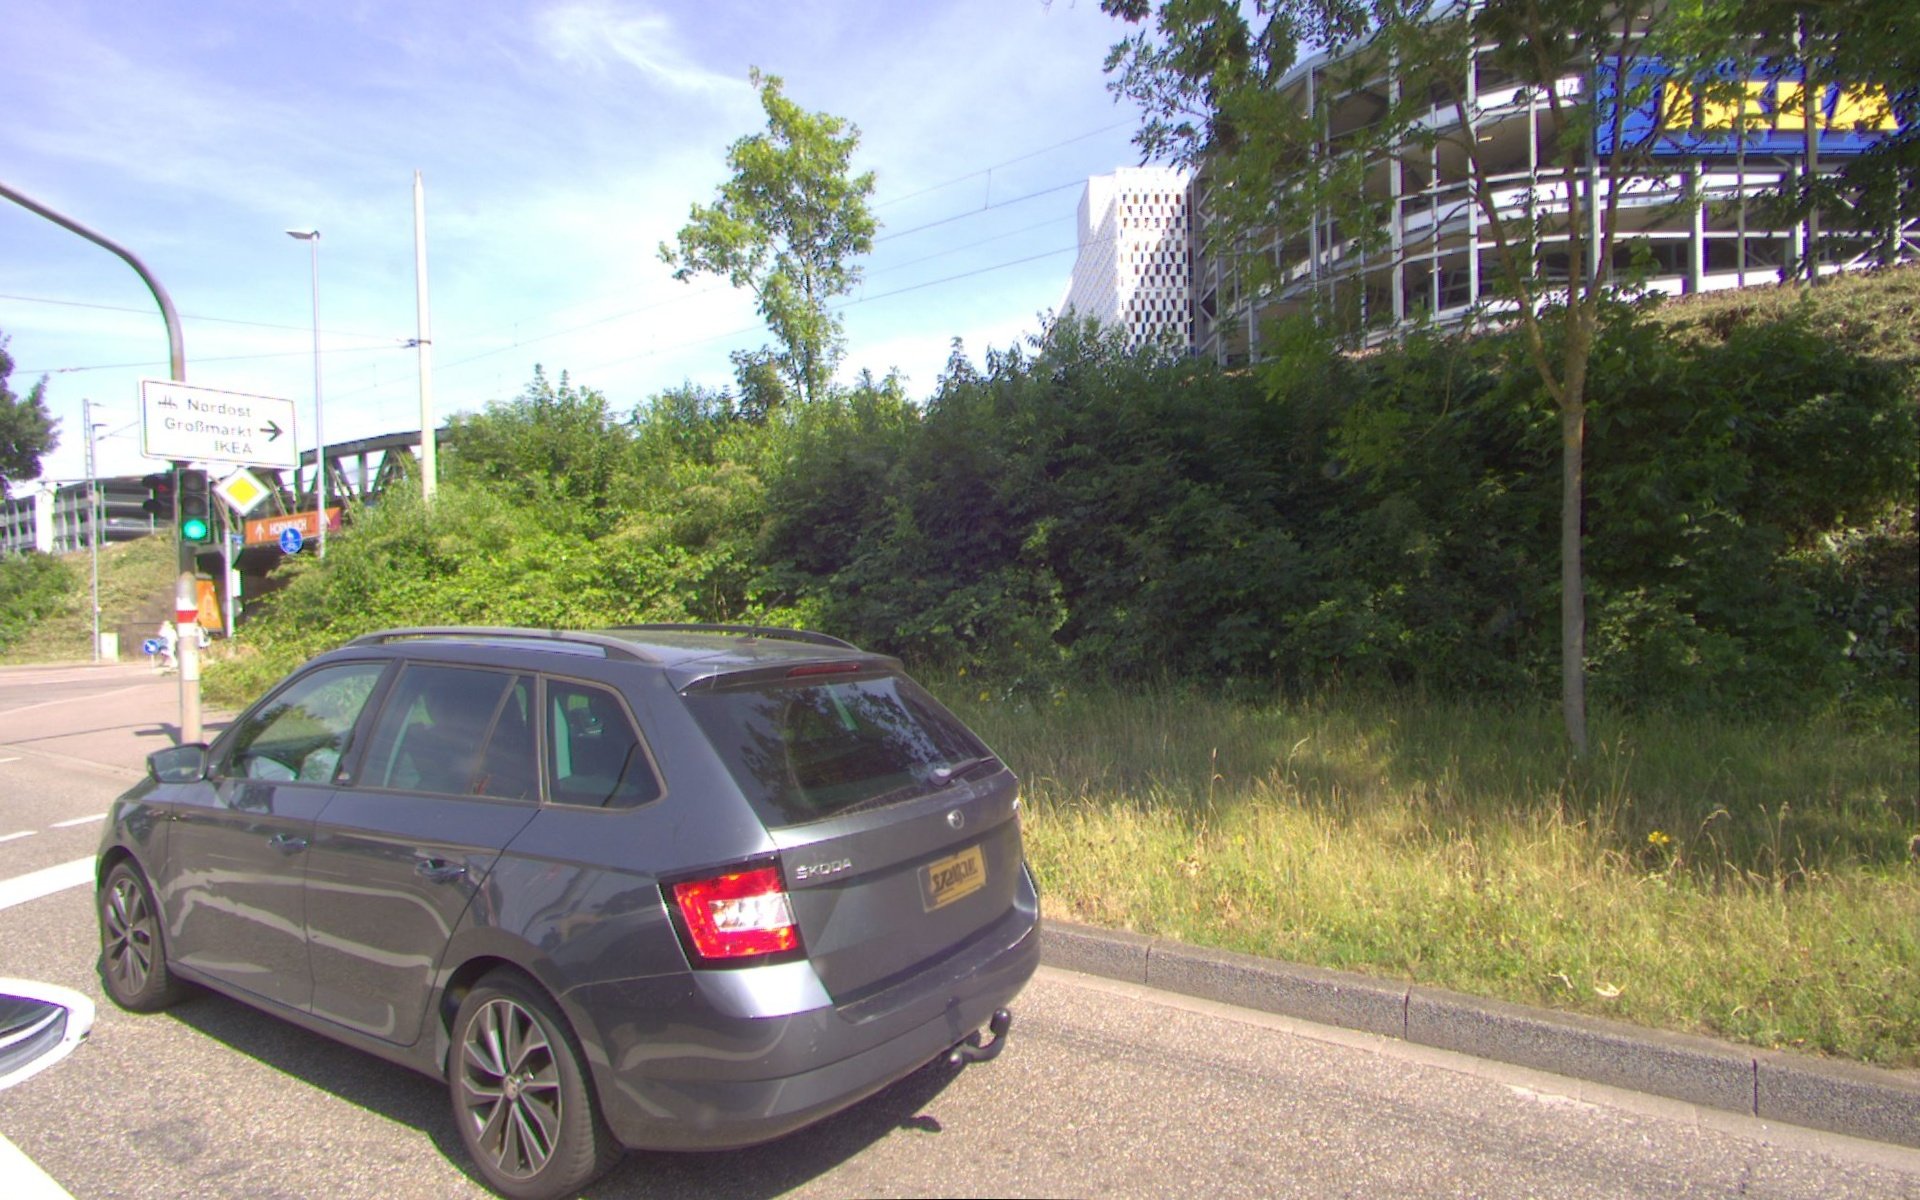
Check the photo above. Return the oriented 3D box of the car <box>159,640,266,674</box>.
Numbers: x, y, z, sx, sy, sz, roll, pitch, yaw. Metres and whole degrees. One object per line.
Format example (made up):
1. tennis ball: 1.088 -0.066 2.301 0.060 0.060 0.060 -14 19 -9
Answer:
1. car: -36.729 2.769 49.359 1.961 1.427 4.501 -1 -1 -1

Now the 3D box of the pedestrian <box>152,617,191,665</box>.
1. pedestrian: -27.579 1.436 35.028 0.766 1.633 0.866 -1 0 32

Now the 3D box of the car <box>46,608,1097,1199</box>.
1. car: -1.650 0.806 3.749 3.979 1.472 1.671 -1 -2 33

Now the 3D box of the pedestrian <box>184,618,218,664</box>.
1. pedestrian: -27.228 1.466 35.943 0.766 1.600 0.728 -1 0 32
